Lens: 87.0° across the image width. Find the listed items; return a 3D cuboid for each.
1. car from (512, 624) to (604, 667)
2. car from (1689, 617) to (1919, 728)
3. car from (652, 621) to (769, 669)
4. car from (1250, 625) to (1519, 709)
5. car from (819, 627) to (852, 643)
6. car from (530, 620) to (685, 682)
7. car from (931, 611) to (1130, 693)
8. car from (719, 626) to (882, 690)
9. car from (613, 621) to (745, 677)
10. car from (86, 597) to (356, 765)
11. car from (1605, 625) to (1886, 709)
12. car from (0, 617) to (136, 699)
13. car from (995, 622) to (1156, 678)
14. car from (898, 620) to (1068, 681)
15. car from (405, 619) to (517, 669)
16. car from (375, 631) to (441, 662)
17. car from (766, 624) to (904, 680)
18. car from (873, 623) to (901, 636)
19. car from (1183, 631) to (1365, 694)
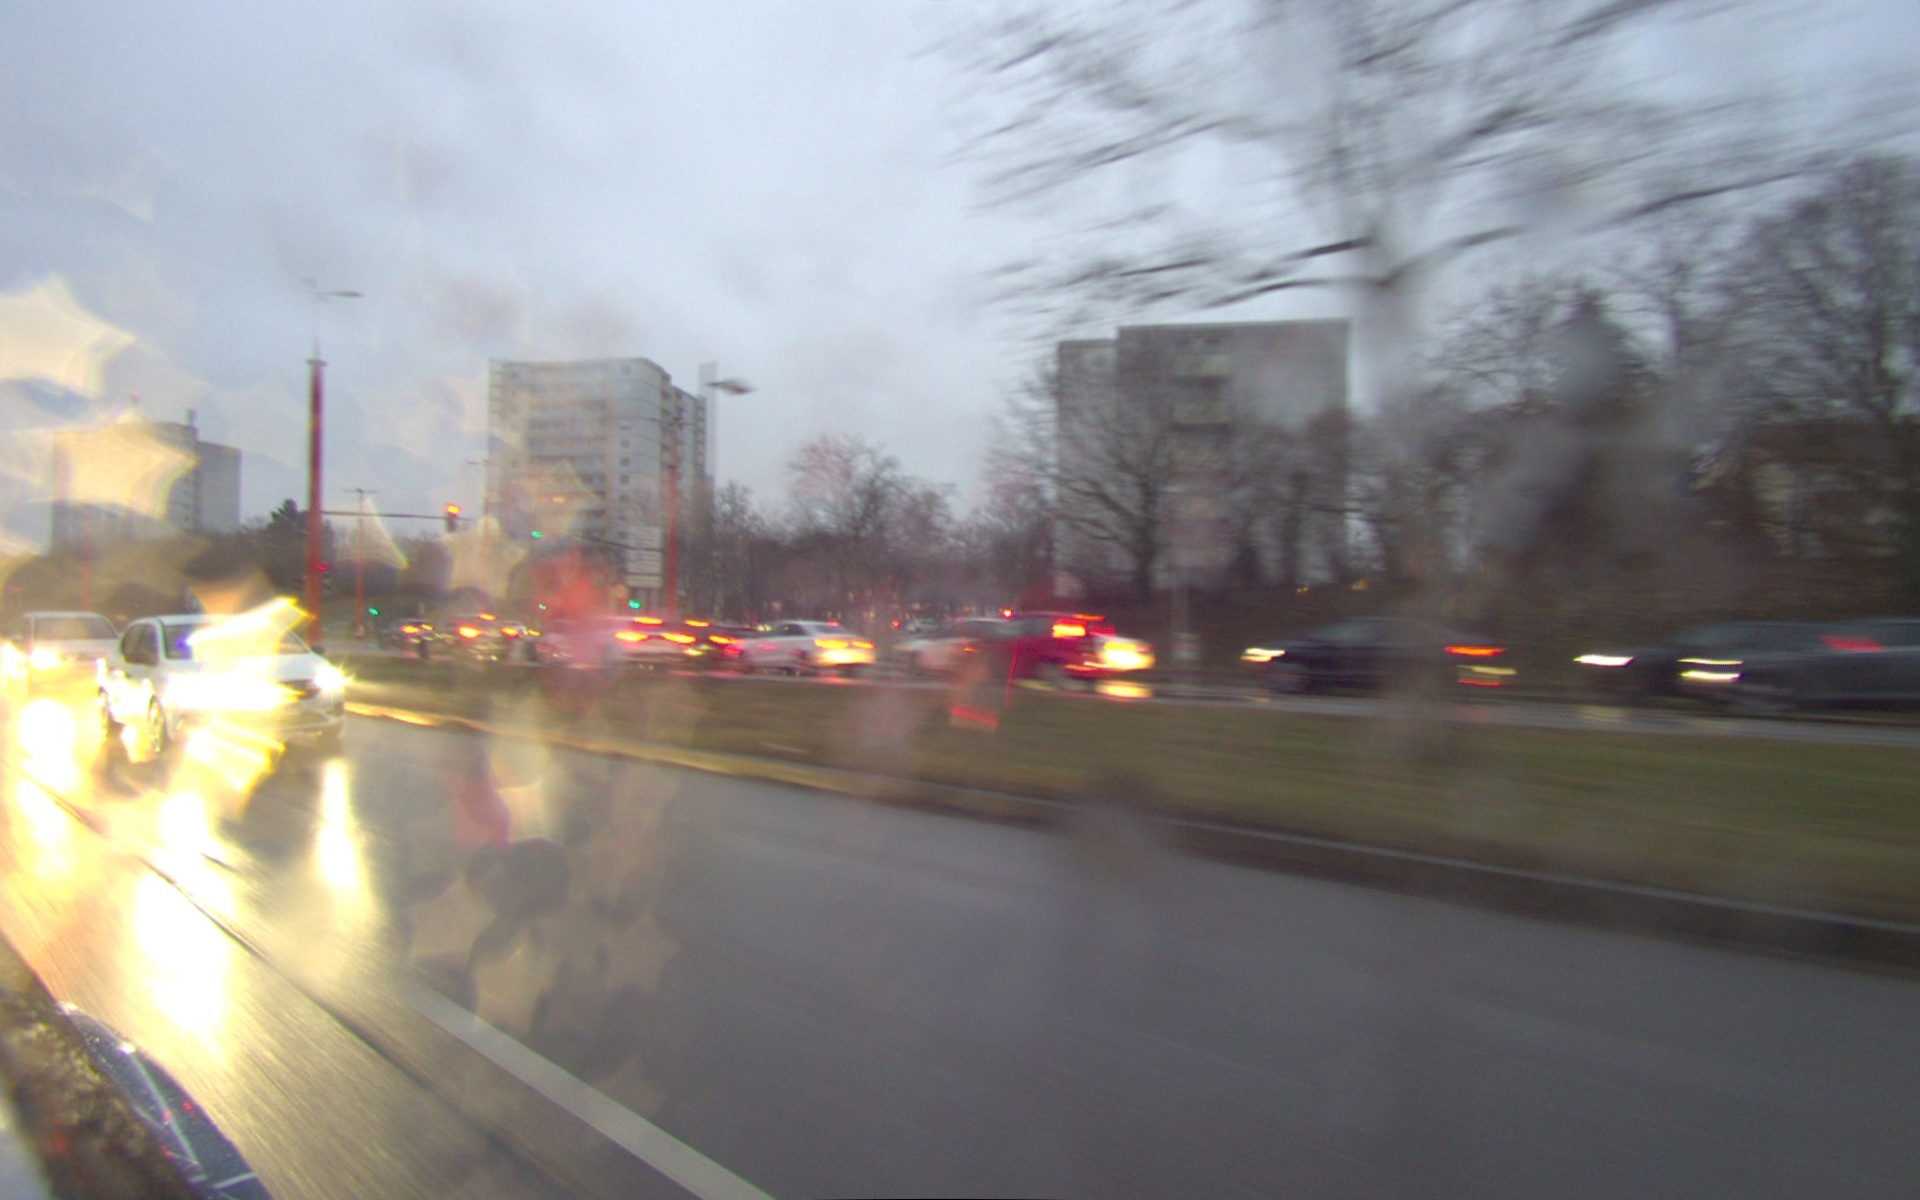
[{"bbox_3d":[-14.133,1.578,35.521,3.324,1.431,1.635,-1,-2,40],"label":"car"},{"bbox_3d":[13.759,1.045,15.139,4.445,1.548,1.751,-2,-2,42],"label":"car"},{"bbox_3d":[-8.629,1.511,34.871,3.998,1.546,1.973,-1,-1,41],"label":"car"},{"bbox_3d":[8.353,1.258,20.177,4.646,1.501,1.752,-1,-2,40],"label":"car"},{"bbox_3d":[-12.327,3.427,100.521,1.979,1.541,4.581,0,-2,11],"label":"car"},{"bbox_3d":[-9.594,1.333,27.341,4.837,1.548,1.752,-1,-2,40],"label":"car"},{"bbox_3d":[1.454,1.073,21.748,4.030,1.598,1.752,-1,-2,40],"label":"car"},{"bbox_3d":[-4.271,1.471,26.703,4.522,1.545,1.752,-1,-2,40],"label":"car"},{"bbox_3d":[-8.684,1.474,31.128,4.284,1.611,1.838,-1,-2,40],"label":"car"},{"bbox_3d":[-8.849,0.840,11.994,4.145,1.660,1.696,-1,-2,41],"label":"car"},{"bbox_3d":[14.552,1.174,18.935,3.997,1.409,1.738,-1,-2,41],"label":"car"},{"bbox_3d":[-19.027,1.157,21.456,4.187,1.551,1.673,-1,-1,40],"label":"car"},{"bbox_3d":[3.291,1.404,29.441,4.436,1.506,1.752,-1,-2,40],"label":"car"},{"bbox_3d":[0.549,1.297,26.992,4.436,1.506,1.752,-1,-2,40],"label":"car"},{"bbox_3d":[-17.014,1.470,34.448,4.073,1.594,1.839,-1,-2,38],"label":"car"},{"bbox_3d":[-29.352,2.456,53.772,3.943,1.565,1.752,-1,-2,40],"label":"car"},{"bbox_3d":[-3.803,1.513,30.473,3.998,1.546,1.973,-1,-1,41],"label":"car"},{"bbox_3d":[-8.655,3.506,120.450,1.981,1.541,4.464,0,-2,14],"label":"car"},{"bbox_3d":[7.806,1.501,25.357,3.997,1.409,1.738,-1,-2,41],"label":"car"}]
